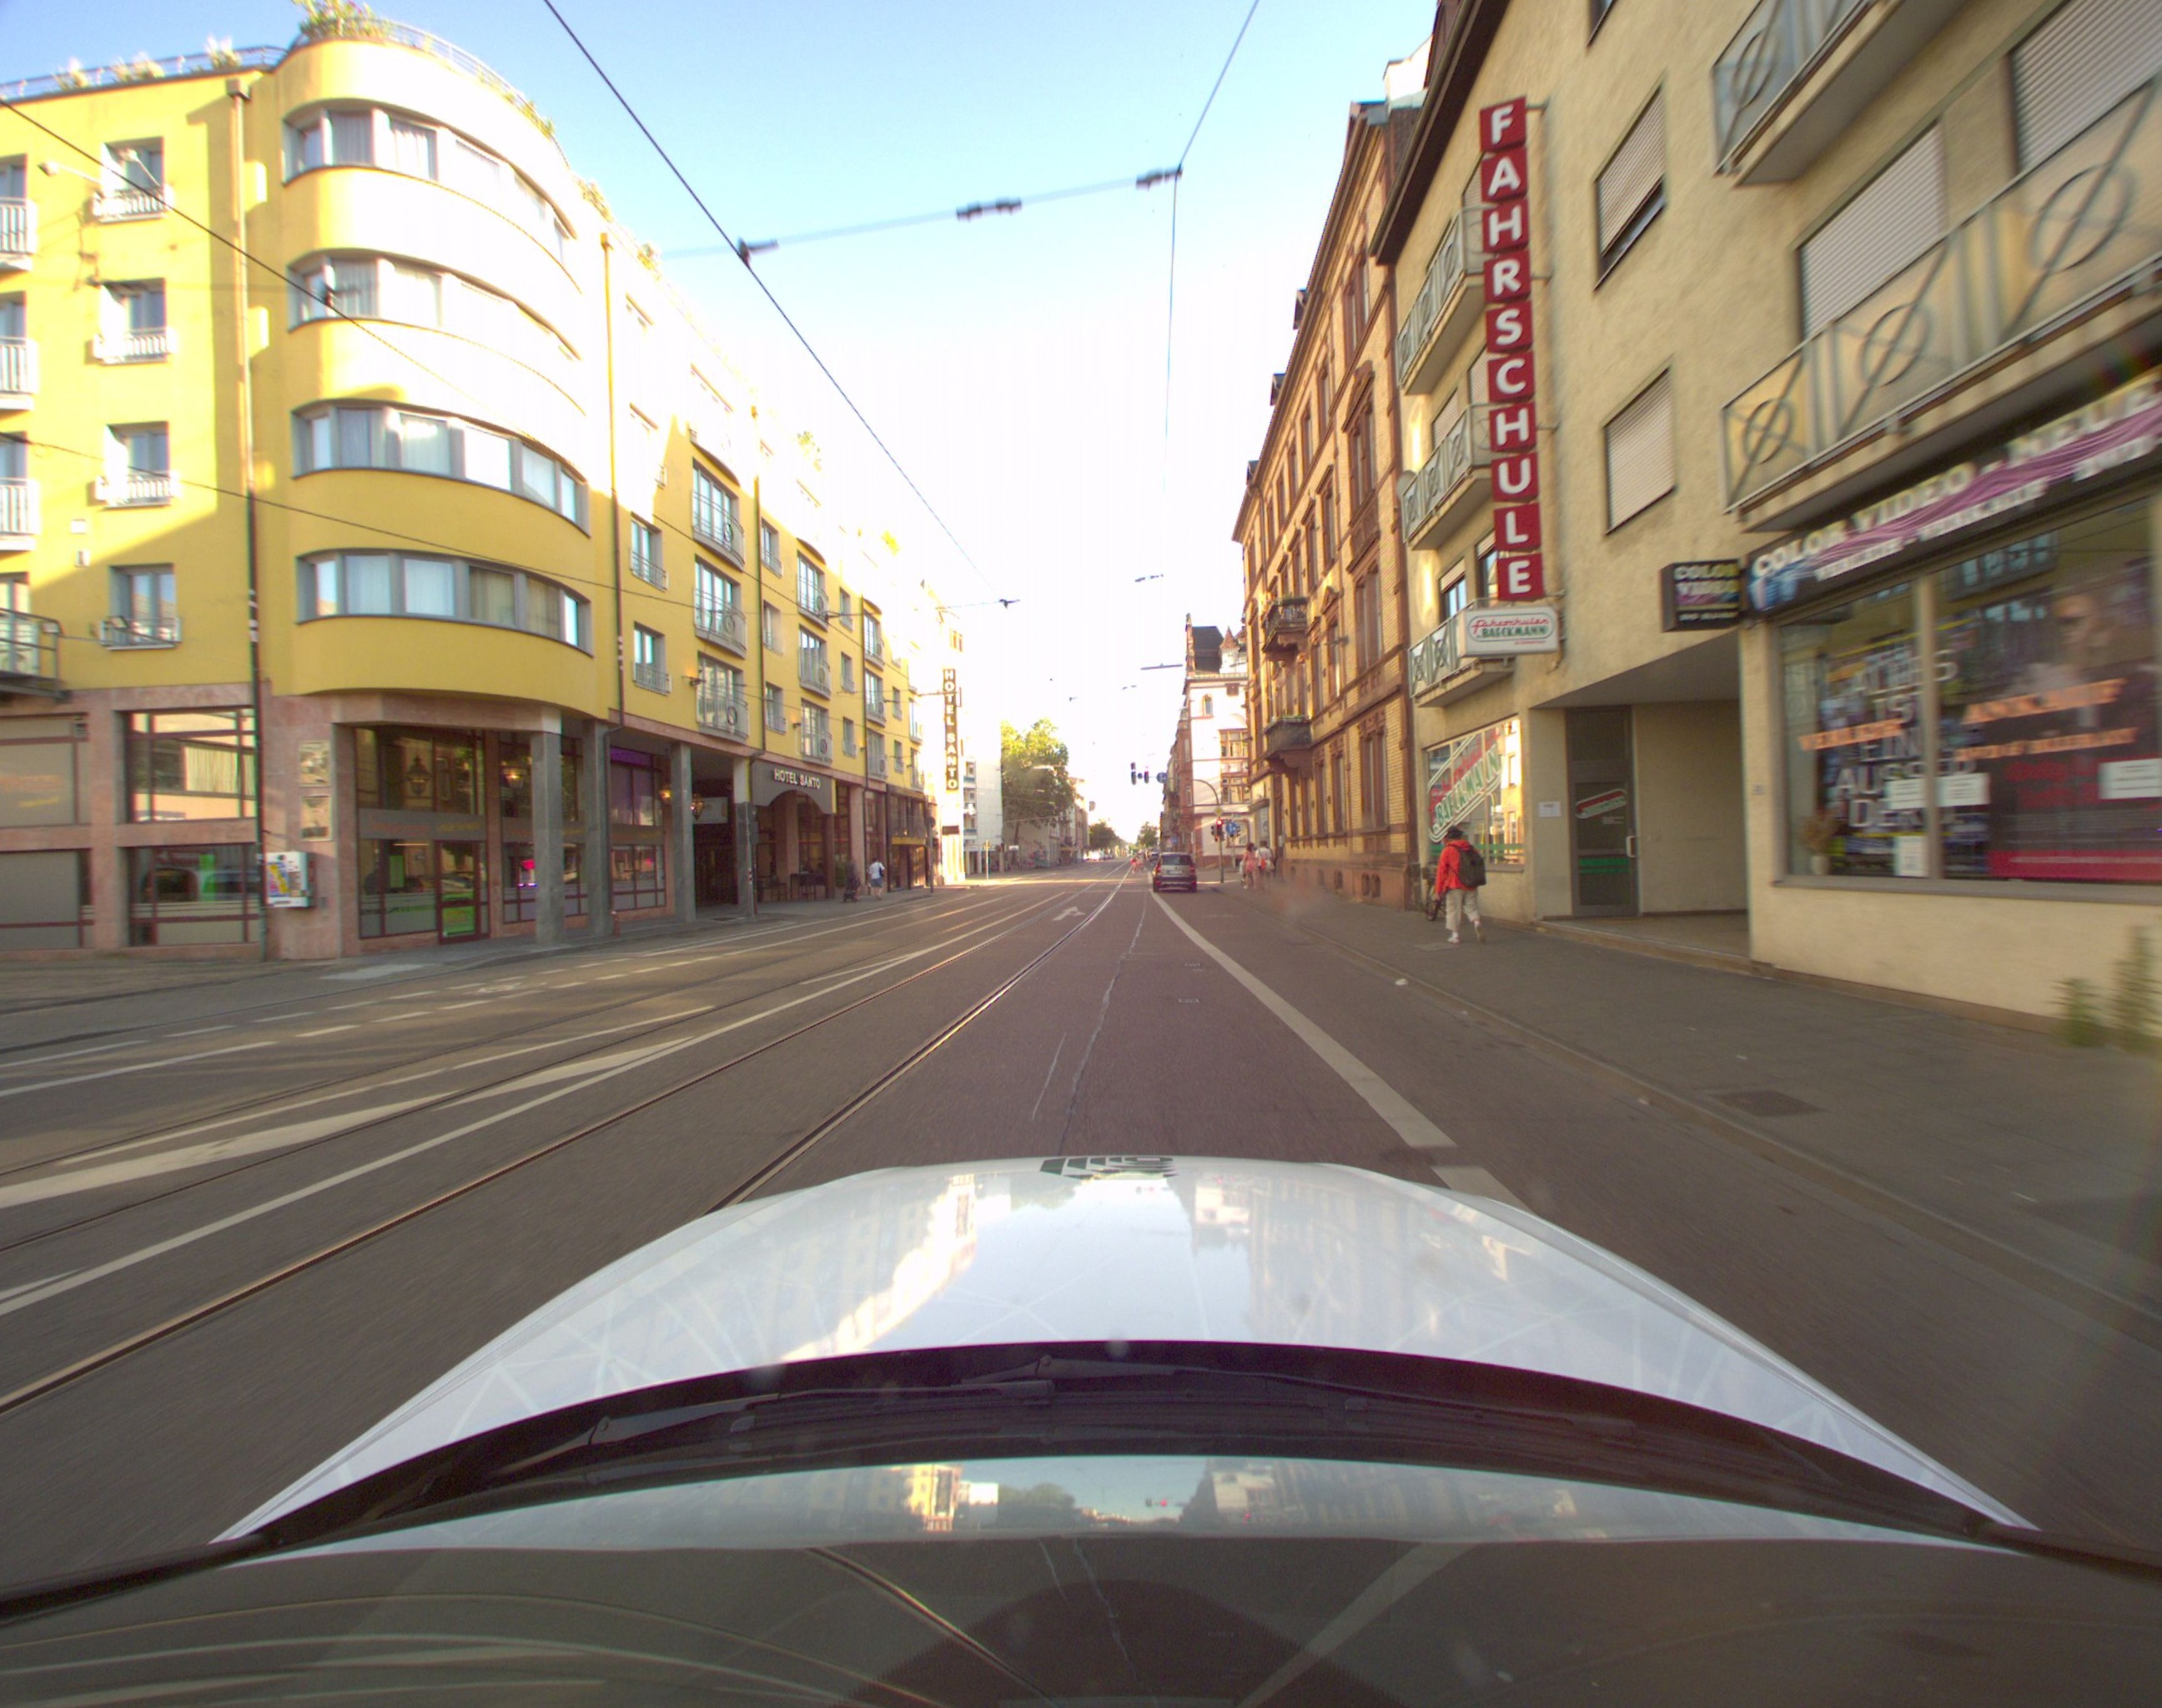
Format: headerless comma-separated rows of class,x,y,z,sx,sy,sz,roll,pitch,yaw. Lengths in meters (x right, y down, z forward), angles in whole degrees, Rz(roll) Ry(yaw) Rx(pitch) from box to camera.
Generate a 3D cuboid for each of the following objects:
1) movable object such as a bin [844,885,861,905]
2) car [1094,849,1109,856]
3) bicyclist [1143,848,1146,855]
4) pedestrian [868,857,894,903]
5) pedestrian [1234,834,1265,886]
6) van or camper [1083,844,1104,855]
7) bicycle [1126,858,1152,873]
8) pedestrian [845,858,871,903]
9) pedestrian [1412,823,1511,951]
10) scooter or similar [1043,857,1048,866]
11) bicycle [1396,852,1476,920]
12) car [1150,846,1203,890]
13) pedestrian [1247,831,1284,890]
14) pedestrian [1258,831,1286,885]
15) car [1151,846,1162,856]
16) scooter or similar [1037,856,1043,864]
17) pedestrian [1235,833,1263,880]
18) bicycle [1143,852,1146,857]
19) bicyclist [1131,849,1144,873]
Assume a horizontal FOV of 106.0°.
movable object such as a bin,-8.940,1.600,31.903,0.381,0.716,0.842,1,2,5
car,6.113,-0.427,243.291,4.002,2.013,1.986,-4,1,-21
bicyclist,12.882,-0.505,165.909,0.572,1.553,0.596,-4,1,5
pedestrian,-8.271,1.055,33.671,0.748,1.818,1.047,1,2,4
pedestrian,6.289,0.208,30.503,0.802,1.799,0.762,-8,1,3
van or camper,3.214,-1.248,207.581,4.661,2.563,1.982,-4,0,-27
bicycle,4.081,0.799,57.252,1.700,1.034,0.602,-2,0,19
pedestrian,-8.936,1.060,32.686,0.794,1.770,0.750,1,2,4
pedestrian,5.321,0.435,11.430,0.794,1.627,0.826,-10,1,4
scooter or similar,-4.757,0.980,109.003,0.514,1.057,1.479,-4,1,2
bicycle,6.534,0.554,15.102,0.552,1.061,2.314,-6,1,5
car,3.988,0.529,34.498,1.985,1.618,4.005,-3,1,4
pedestrian,6.101,0.193,27.022,0.802,1.799,1.093,-8,1,3
pedestrian,7.057,0.125,30.125,0.688,1.908,0.671,-8,1,3
car,14.560,-0.545,156.683,1.940,1.683,4.007,-4,1,5
scooter or similar,-5.462,0.827,109.008,0.514,1.045,1.479,-4,1,2
pedestrian,6.835,0.088,33.236,0.802,1.799,0.762,-8,1,4
bicycle,12.927,0.123,165.921,0.572,1.030,1.898,-4,1,5
bicyclist,3.989,0.499,57.275,0.734,1.634,0.611,-2,0,19
